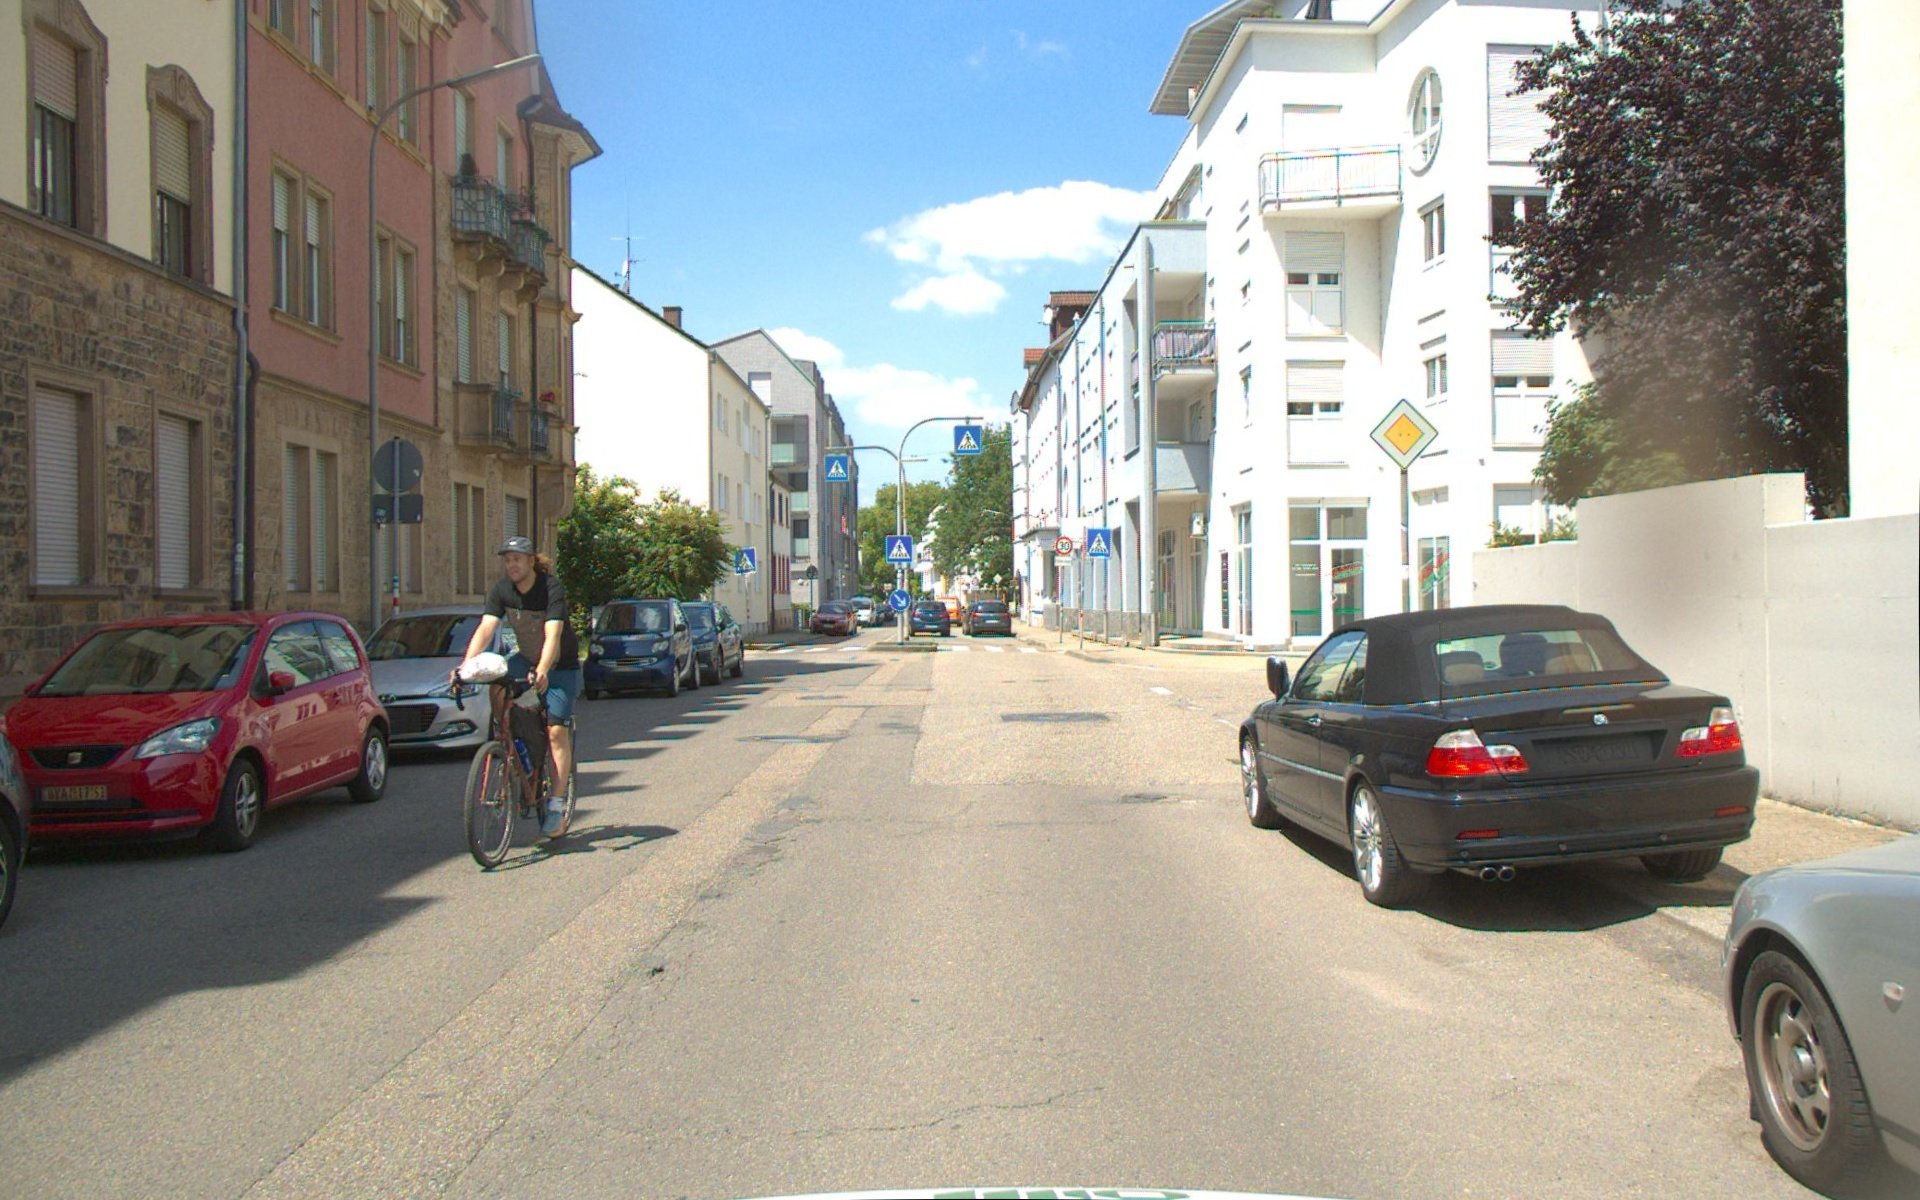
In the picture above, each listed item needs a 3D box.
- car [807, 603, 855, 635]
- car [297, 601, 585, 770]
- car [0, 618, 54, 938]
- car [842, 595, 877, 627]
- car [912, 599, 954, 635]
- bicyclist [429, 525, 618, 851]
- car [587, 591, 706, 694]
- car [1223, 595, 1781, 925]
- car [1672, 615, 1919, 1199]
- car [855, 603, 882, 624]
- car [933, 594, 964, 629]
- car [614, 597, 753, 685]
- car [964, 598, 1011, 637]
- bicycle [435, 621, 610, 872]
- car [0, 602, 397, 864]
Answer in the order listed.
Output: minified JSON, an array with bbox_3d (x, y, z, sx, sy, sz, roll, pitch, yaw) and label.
[{"bbox_3d":[-5.922,0.868,76.343,1.796,1.441,4.290,-1,0,1],"label":"car"},{"bbox_3d":[-5.174,0.777,17.038,1.601,1.456,4.019,-2,0,1],"label":"car"},{"bbox_3d":[-5.294,0.845,5.931,1.834,1.463,4.217,-1,0,-2],"label":"car"},{"bbox_3d":[-6.320,0.698,104.198,1.720,1.925,4.338,2,0,3],"label":"car"},{"bbox_3d":[-1.135,0.683,68.818,1.680,1.426,3.999,-1,0,-1],"label":"car"},{"bbox_3d":[-2.556,0.493,9.801,0.627,1.793,1.168,-2,0,6],"label":"bicyclist"},{"bbox_3d":[-5.010,0.664,26.671,1.407,1.549,2.695,-1,0,-1],"label":"car"},{"bbox_3d":[2.709,0.692,9.340,1.623,1.400,4.237,-1,0,-2],"label":"car"},{"bbox_3d":[2.925,0.734,3.018,1.553,1.377,3.822,-3,0,0],"label":"car"},{"bbox_3d":[-6.458,0.963,117.454,1.688,1.482,4.005,1,0,0],"label":"car"},{"bbox_3d":[-0.725,0.682,101.230,1.801,2.049,3.999,-1,0,-1],"label":"car"},{"bbox_3d":[-5.071,0.724,30.929,1.746,1.483,4.635,-1,0,1],"label":"car"},{"bbox_3d":[1.136,0.714,69.044,1.675,1.534,3.997,-1,0,-3],"label":"car"},{"bbox_3d":[-2.535,0.797,9.767,0.223,1.297,1.884,-3,0,8],"label":"bicycle"},{"bbox_3d":[-5.196,0.773,11.272,1.566,1.467,3.494,-1,0,-2],"label":"car"}]
